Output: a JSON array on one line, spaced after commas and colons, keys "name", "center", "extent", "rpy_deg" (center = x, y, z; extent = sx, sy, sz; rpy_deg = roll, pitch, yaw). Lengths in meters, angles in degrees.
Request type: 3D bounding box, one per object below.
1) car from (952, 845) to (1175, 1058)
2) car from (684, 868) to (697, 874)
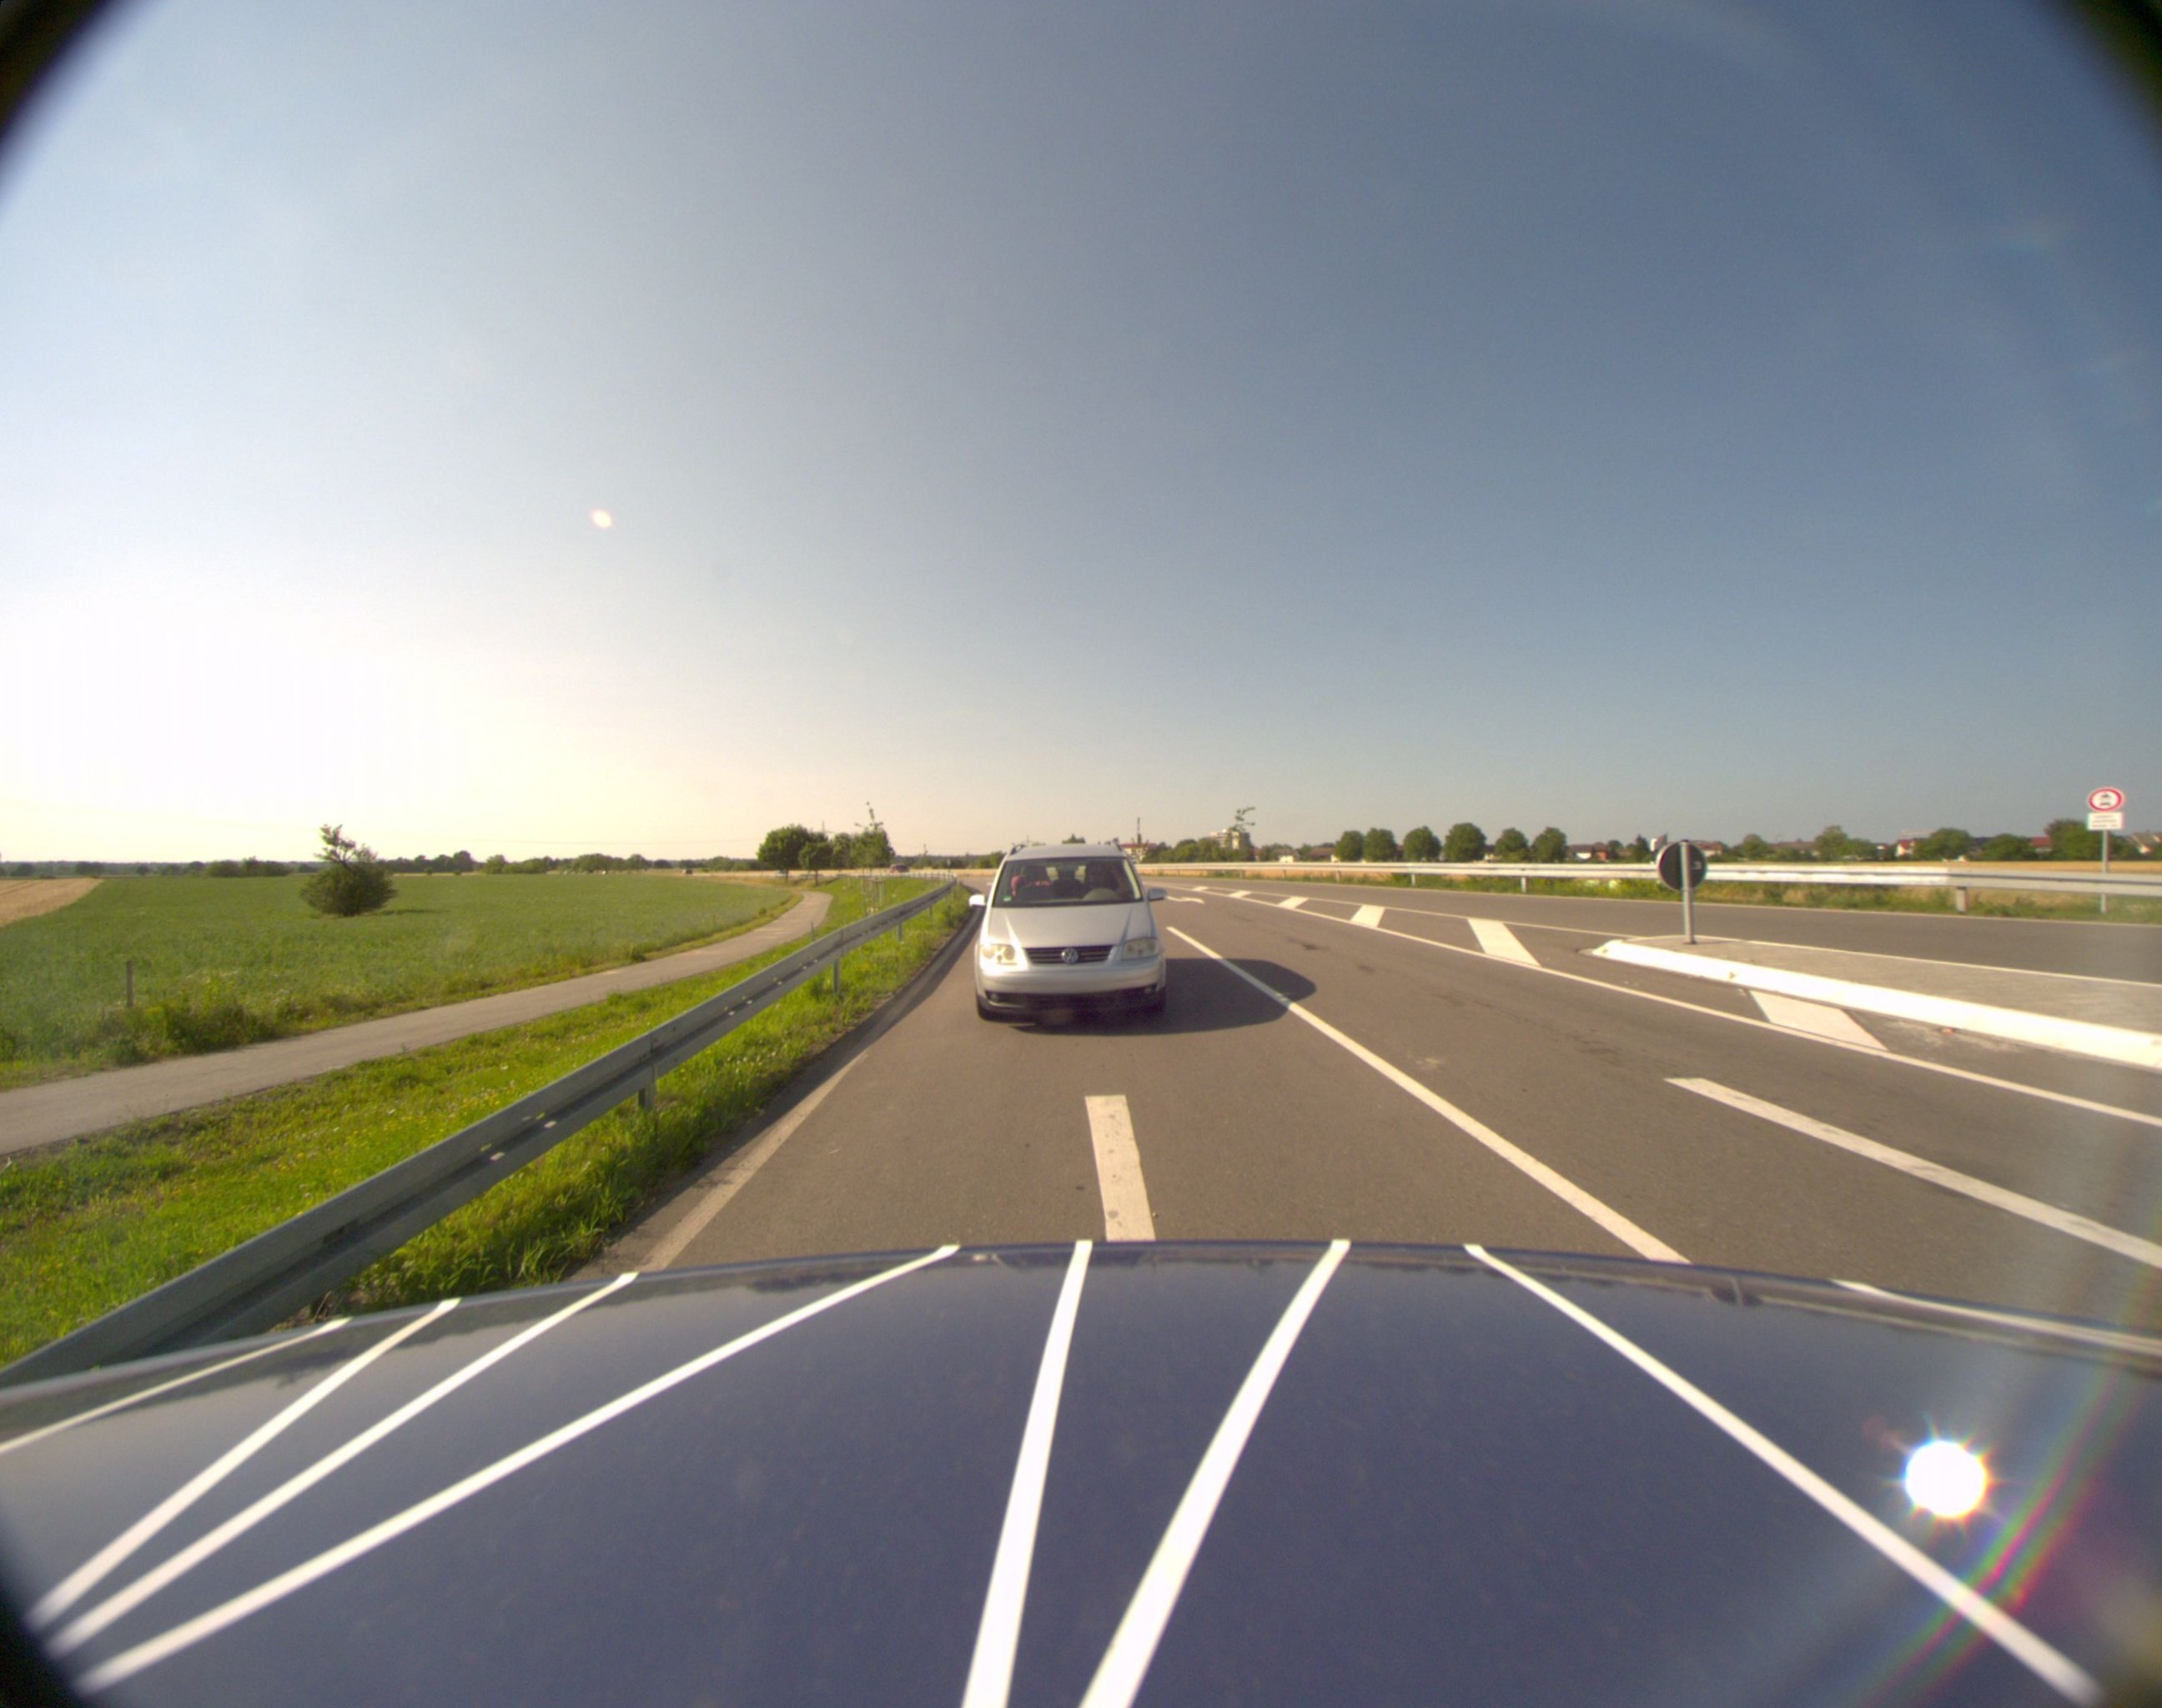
[{"name": "car", "center": [-0.112, 0.780, 8.295], "extent": [1.755, 1.685, 4.214], "rpy_deg": [-2, 1, 1]}, {"name": "car", "center": [-105.687, 4.657, 205.866], "extent": [3.989, 1.663, 1.818], "rpy_deg": [-2, 1, 43]}]
